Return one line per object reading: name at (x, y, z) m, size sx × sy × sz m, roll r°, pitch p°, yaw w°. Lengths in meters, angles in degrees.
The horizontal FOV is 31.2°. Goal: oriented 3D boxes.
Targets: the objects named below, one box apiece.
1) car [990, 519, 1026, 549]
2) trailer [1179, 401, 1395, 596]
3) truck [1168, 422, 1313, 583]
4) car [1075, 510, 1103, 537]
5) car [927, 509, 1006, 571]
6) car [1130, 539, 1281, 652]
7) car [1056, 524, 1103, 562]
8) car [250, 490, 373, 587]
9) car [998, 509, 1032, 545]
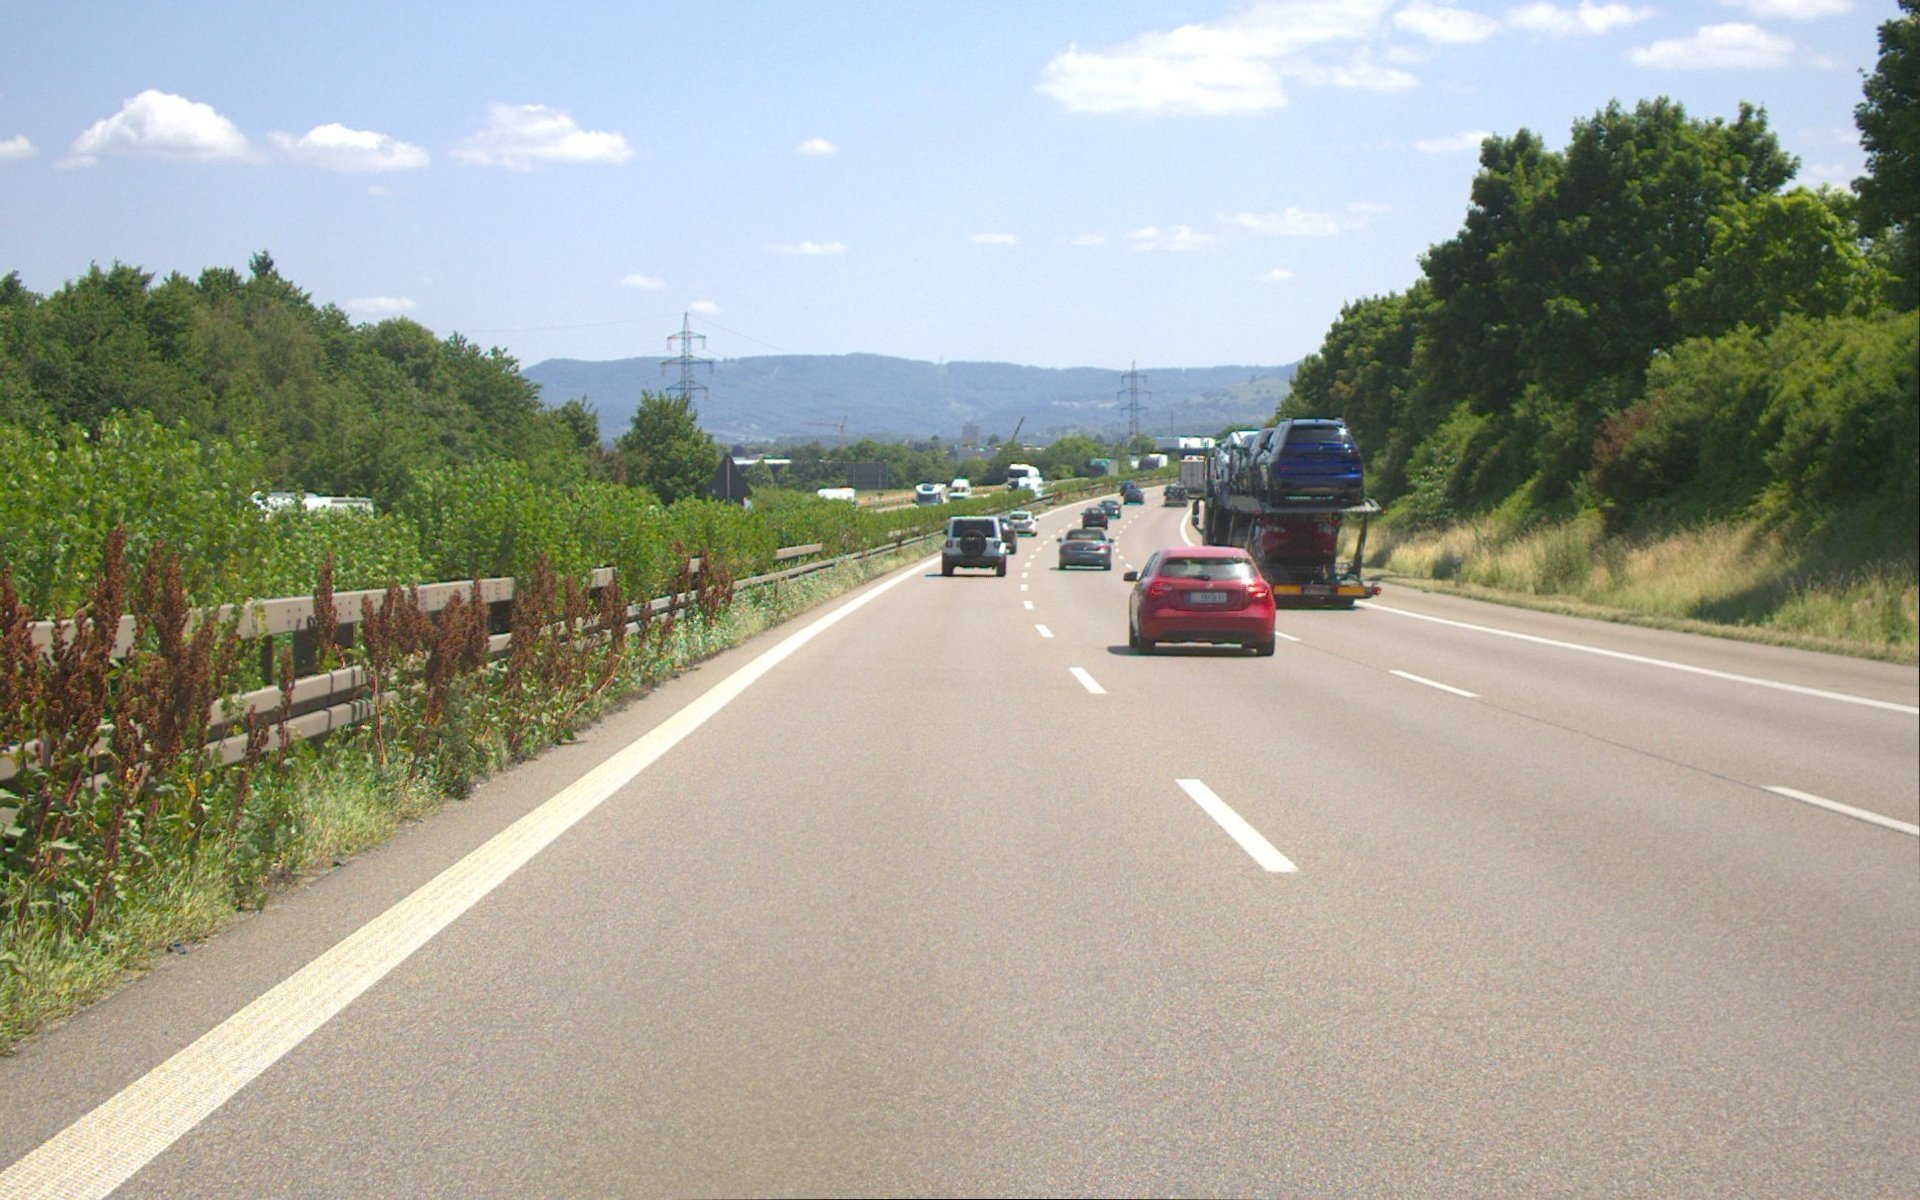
car at (2.109, -2.866, 149.905) m, size 1.455 × 1.263 × 3.337 m, roll 1°, pitch 1°, yaw 3°
trailer at (7.274, -2.307, 78.936) m, size 2.855 × 3.979 × 15.399 m, roll 1°, pitch 1°, yaw -2°
truck at (7.000, -2.456, 86.713) m, size 2.753 × 3.839 × 6.645 m, roll 1°, pitch 1°, yaw -3°
car at (8.333, -4.935, 222.560) m, size 1.636 × 1.699 × 3.401 m, roll 1°, pitch 1°, yaw 5°
car at (0.177, -1.870, 106.146) m, size 2.083 × 1.823 × 4.754 m, roll 1°, pitch 1°, yaw -4°
car at (3.224, -0.093, 45.708) m, size 1.686 × 1.374 × 3.949 m, roll 1°, pitch 1°, yaw 0°
car at (4.124, -1.977, 118.723) m, size 1.452 × 1.263 × 3.539 m, roll 1°, pitch 1°, yaw -1°
car at (-12.722, -1.217, 67.585) m, size 1.629 × 1.821 × 3.769 m, roll 1°, pitch 1°, yaw 1°
car at (3.175, -4.207, 197.608) m, size 1.698 × 2.007 × 3.822 m, roll 1°, pitch 1°, yaw 5°
